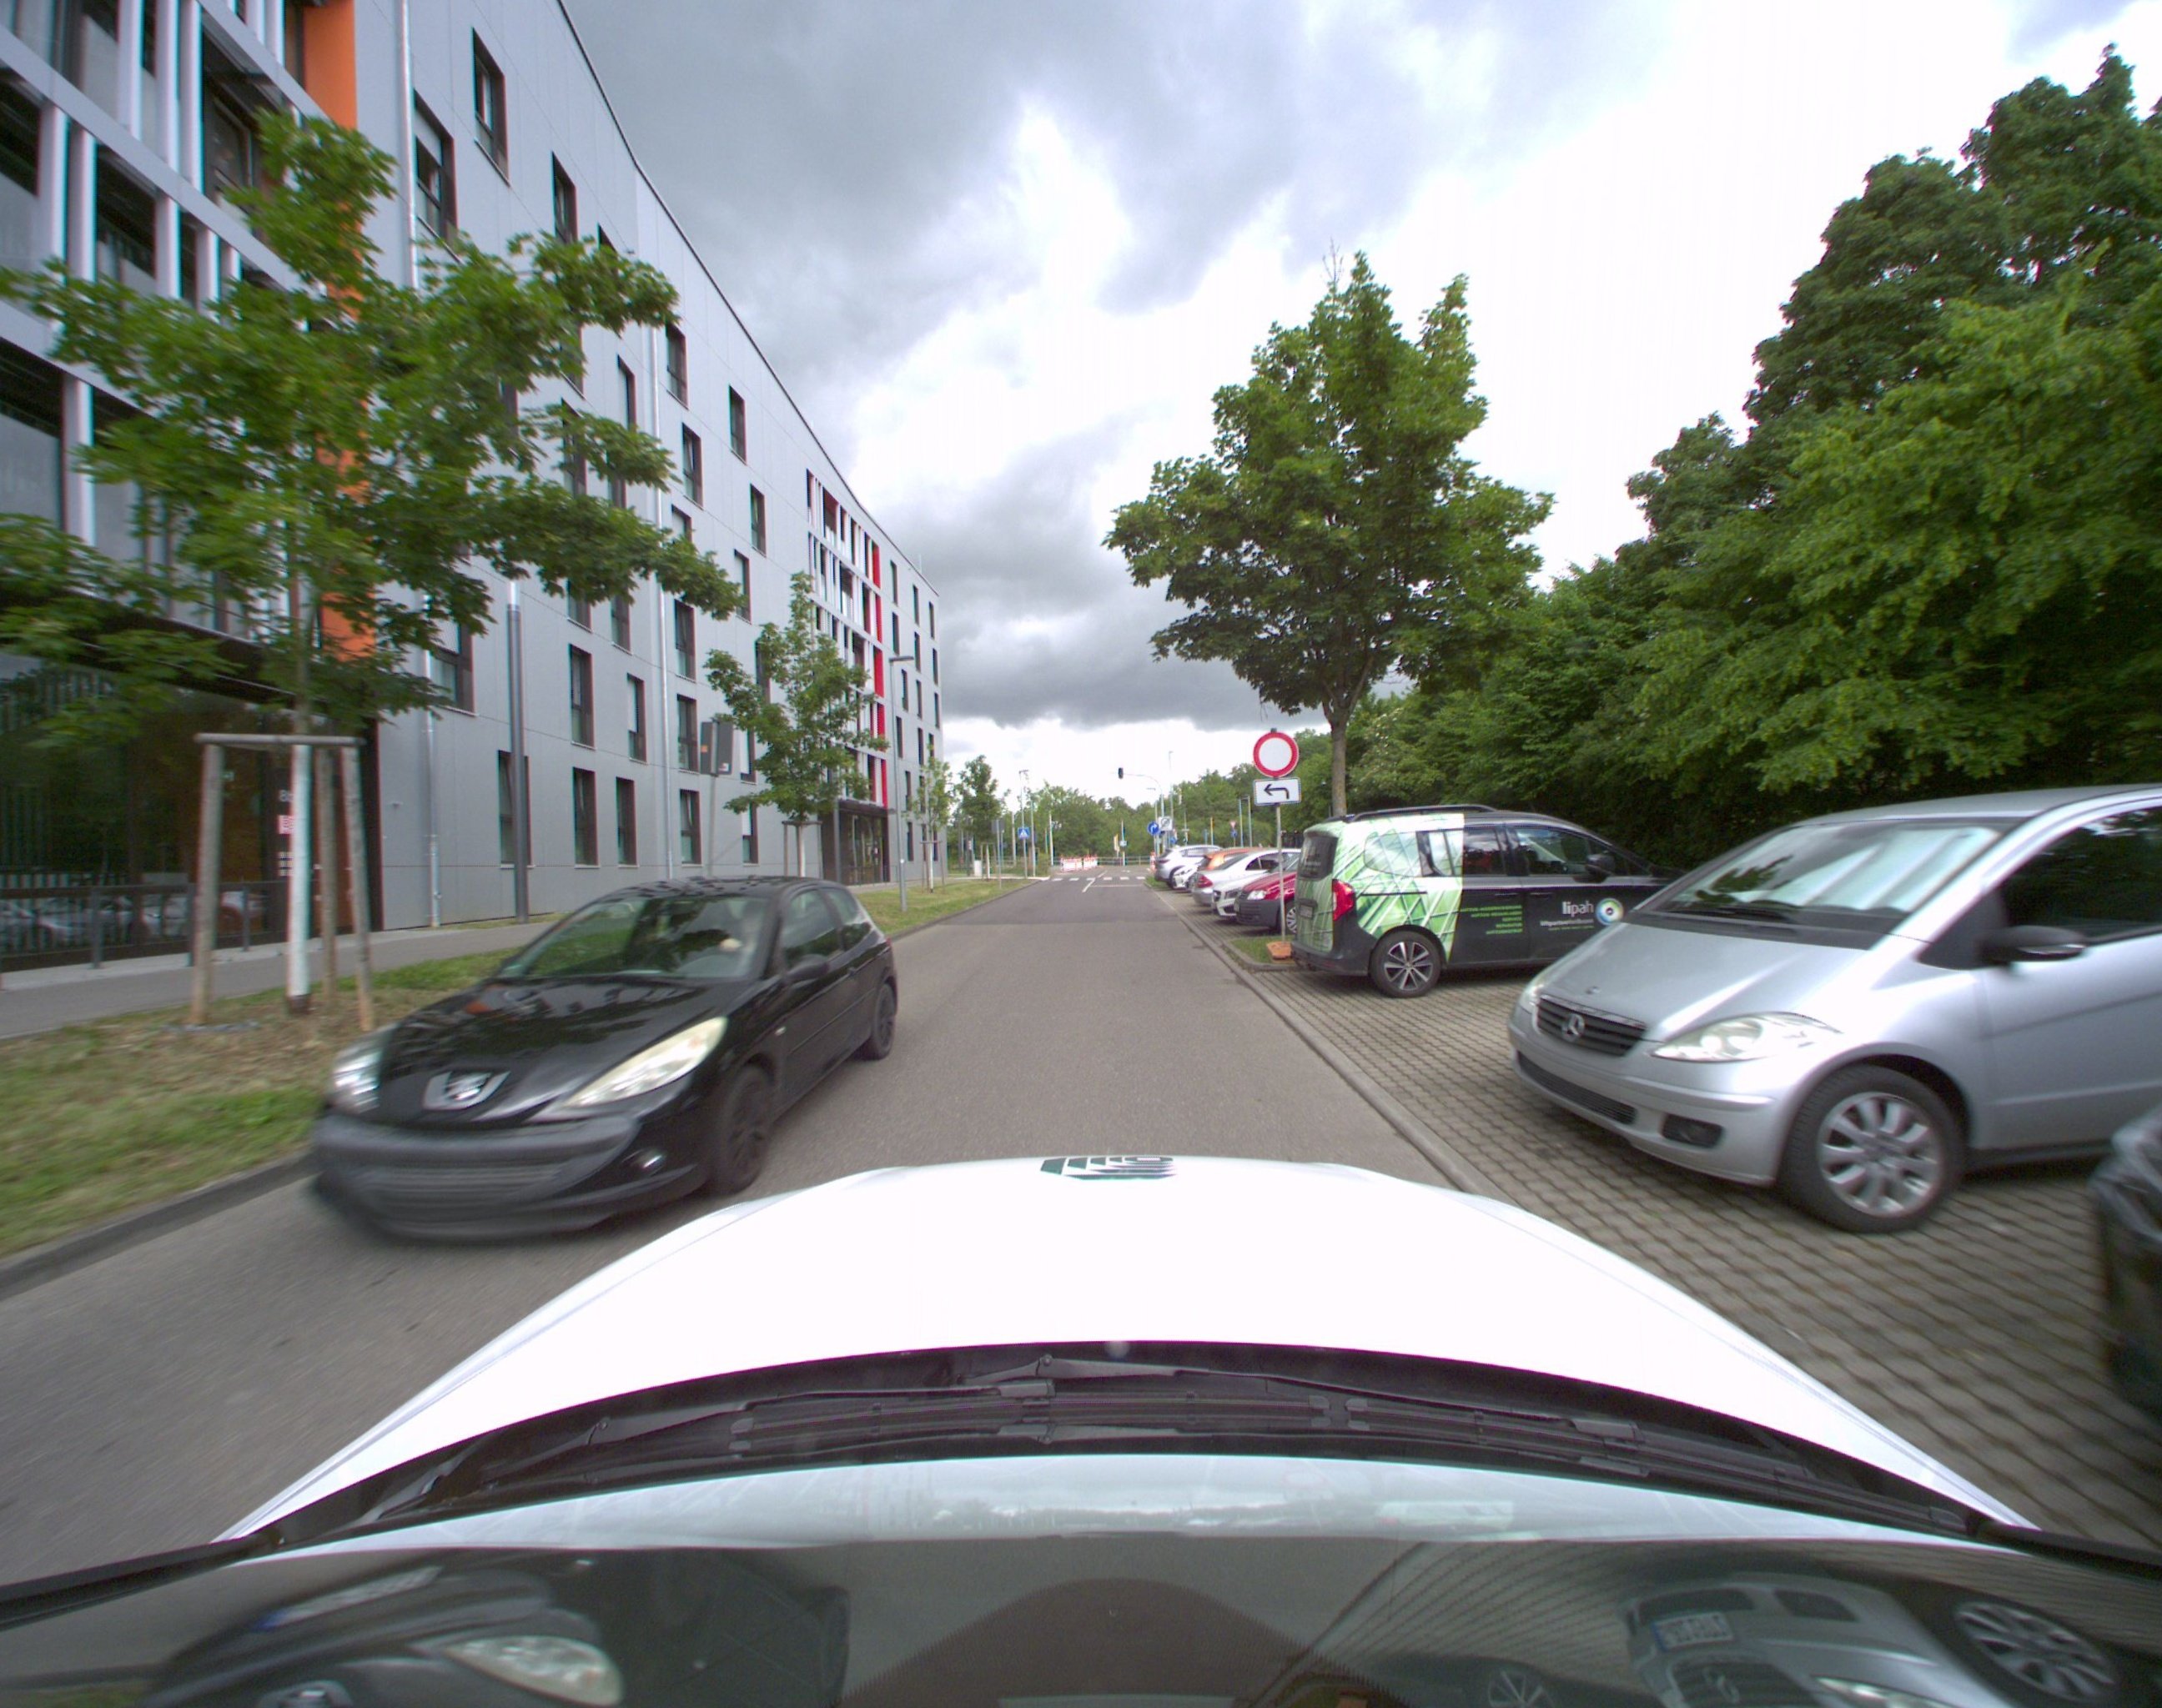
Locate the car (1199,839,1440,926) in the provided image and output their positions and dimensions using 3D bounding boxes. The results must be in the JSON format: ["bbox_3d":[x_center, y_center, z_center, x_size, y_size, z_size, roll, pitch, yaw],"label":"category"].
[{"bbox_3d":[4.761,0.545,16.734,4.365,1.573,1.916,-1,0,-1],"label":"car"}]

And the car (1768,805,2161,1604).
[{"bbox_3d":[4.387,0.535,1.405,4.715,1.498,2.109,-4,1,-3],"label":"car"}]

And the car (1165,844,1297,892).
[{"bbox_3d":[5.337,0.470,29.363,4.365,1.582,1.916,-1,1,-1],"label":"car"}]

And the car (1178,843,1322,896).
[{"bbox_3d":[5.528,0.475,26.975,4.365,1.582,1.916,-1,1,-1],"label":"car"}]

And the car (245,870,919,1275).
[{"bbox_3d":[-2.257,0.849,5.028,1.603,1.388,4.001,-1,0,1],"label":"car"}]

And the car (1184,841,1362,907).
[{"bbox_3d":[5.098,0.500,22.081,4.365,1.617,1.916,-1,1,-1],"label":"car"}]

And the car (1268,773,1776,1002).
[{"bbox_3d":[4.469,0.309,8.785,4.365,1.904,1.916,-4,1,0],"label":"car"}]

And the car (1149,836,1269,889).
[{"bbox_3d":[4.933,0.306,31.820,4.365,1.903,1.916,-1,1,-1],"label":"car"}]

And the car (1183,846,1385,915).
[{"bbox_3d":[4.752,0.592,19.525,4.365,1.475,1.916,-1,1,-1],"label":"car"}]

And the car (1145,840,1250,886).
[{"bbox_3d":[5.126,0.370,36.180,4.365,1.903,1.916,-1,1,-1],"label":"car"}]

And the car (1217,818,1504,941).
[{"bbox_3d":[4.735,0.397,14.271,4.365,1.904,1.936,-1,1,-1],"label":"car"}]

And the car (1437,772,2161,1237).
[{"bbox_3d":[4.354,0.451,3.949,4.365,1.577,1.916,-4,1,0],"label":"car"}]
